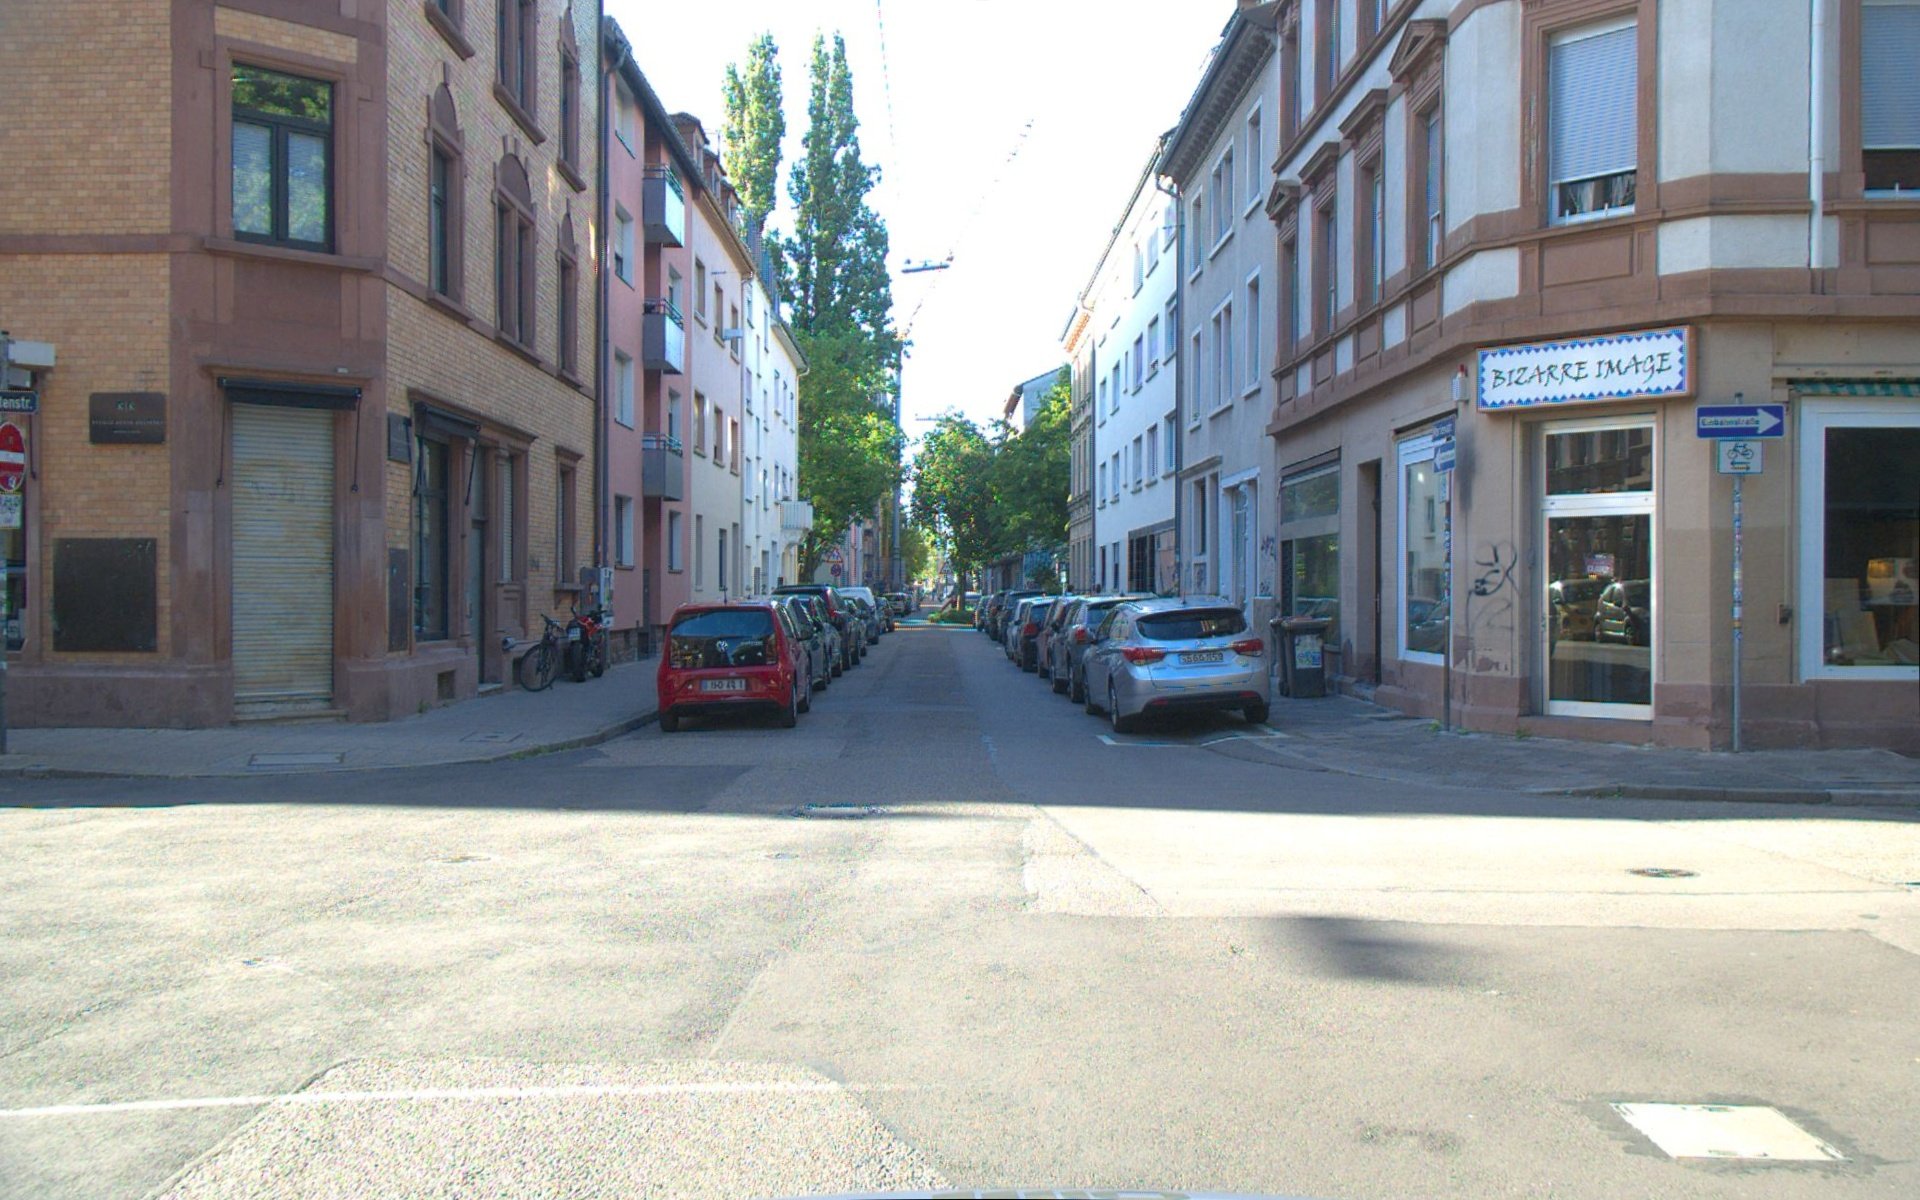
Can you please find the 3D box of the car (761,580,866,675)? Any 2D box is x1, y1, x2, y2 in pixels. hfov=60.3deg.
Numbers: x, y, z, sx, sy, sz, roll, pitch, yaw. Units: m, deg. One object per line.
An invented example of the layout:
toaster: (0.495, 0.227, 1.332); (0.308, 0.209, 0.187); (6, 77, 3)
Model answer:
car: (-3.077, 0.533, 35.579); (1.707, 1.842, 4.672); (-2, 0, 1)

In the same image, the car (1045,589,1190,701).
car: (2.348, 0.629, 25.509); (1.709, 1.533, 4.020); (-2, 0, -2)

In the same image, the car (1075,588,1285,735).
car: (2.551, 0.653, 20.190); (1.709, 1.533, 4.354); (-2, 0, -4)

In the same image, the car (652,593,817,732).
car: (-2.710, 0.697, 20.567); (1.595, 1.507, 3.600); (-2, 0, -2)

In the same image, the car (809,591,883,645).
car: (-3.412, 0.520, 50.206); (1.638, 1.512, 3.994); (-2, 0, 4)

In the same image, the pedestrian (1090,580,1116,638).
pedestrian: (4.189, 0.269, 48.638); (0.671, 1.689, 0.717); (-1, 0, -1)

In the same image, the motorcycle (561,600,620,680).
motorcycle: (-5.925, 0.622, 26.606); (0.522, 1.227, 1.908); (0, 0, 0)

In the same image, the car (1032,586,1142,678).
car: (2.287, 0.543, 30.607); (1.566, 1.533, 4.183); (-2, 0, -2)

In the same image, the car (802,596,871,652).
car: (-3.386, 0.625, 45.813); (1.639, 1.412, 4.181); (-2, 0, -1)

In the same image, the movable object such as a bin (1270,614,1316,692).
movable object such as a bin: (4.711, 0.745, 23.420); (0.503, 1.058, 0.594); (-2, 0, 0)

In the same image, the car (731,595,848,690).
car: (-3.033, 0.714, 30.084); (1.622, 1.547, 3.945); (-2, 0, 1)

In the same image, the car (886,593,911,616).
car: (-4.244, 0.292, 114.058); (1.642, 1.513, 4.093); (-2, 0, -2)

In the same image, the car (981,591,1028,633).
car: (1.762, 0.445, 66.479); (1.642, 1.588, 3.795); (-2, 0, -2)

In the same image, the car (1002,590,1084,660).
car: (1.964, 0.565, 40.099); (1.642, 1.533, 3.936); (-2, 0, -2)

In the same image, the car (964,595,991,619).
car: (1.159, 0.434, 110.358); (1.642, 1.513, 3.637); (-2, 0, -2)

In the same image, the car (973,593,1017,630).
car: (1.488, 0.478, 71.378); (1.642, 1.513, 4.093); (-2, 0, -2)

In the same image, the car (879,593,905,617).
car: (-4.444, 0.301, 108.801); (1.642, 1.513, 4.093); (-2, 0, -2)

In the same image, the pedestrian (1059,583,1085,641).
pedestrian: (3.302, 0.335, 48.755); (0.671, 1.689, 0.717); (-1, 0, -1)

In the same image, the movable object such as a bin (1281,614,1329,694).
movable object such as a bin: (4.720, 0.735, 22.666); (0.503, 1.058, 0.619); (-2, 0, 0)

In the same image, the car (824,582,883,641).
car: (-3.480, 0.347, 54.735); (1.729, 1.816, 4.038); (-2, 0, -2)

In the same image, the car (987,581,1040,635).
car: (1.819, 0.282, 57.057); (1.641, 1.711, 4.094); (-2, 0, 0)

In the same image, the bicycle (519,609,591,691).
bicycle: (-5.906, 0.708, 24.187); (0.522, 1.092, 1.891); (4, 0, 0)

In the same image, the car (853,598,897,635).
car: (-3.464, 0.639, 67.815); (1.636, 1.385, 4.048); (-2, 0, -1)

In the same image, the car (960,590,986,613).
car: (0.891, 0.075, 116.787); (1.642, 1.513, 3.637); (-2, 0, -2)

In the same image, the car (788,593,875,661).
car: (-3.113, 0.621, 40.788); (1.707, 1.533, 4.347); (-2, 0, 1)

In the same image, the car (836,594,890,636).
car: (-3.702, 0.549, 63.610); (1.635, 1.495, 3.821); (-2, 0, 2)

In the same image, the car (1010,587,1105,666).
car: (2.026, 0.512, 35.248); (1.642, 1.533, 3.936); (-2, 0, -2)

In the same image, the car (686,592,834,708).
car: (-2.964, 0.692, 25.262); (1.660, 1.547, 4.096); (-2, 0, 1)

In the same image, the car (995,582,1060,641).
car: (2.070, 0.353, 51.857); (1.642, 1.655, 4.249); (-4, 0, -2)
